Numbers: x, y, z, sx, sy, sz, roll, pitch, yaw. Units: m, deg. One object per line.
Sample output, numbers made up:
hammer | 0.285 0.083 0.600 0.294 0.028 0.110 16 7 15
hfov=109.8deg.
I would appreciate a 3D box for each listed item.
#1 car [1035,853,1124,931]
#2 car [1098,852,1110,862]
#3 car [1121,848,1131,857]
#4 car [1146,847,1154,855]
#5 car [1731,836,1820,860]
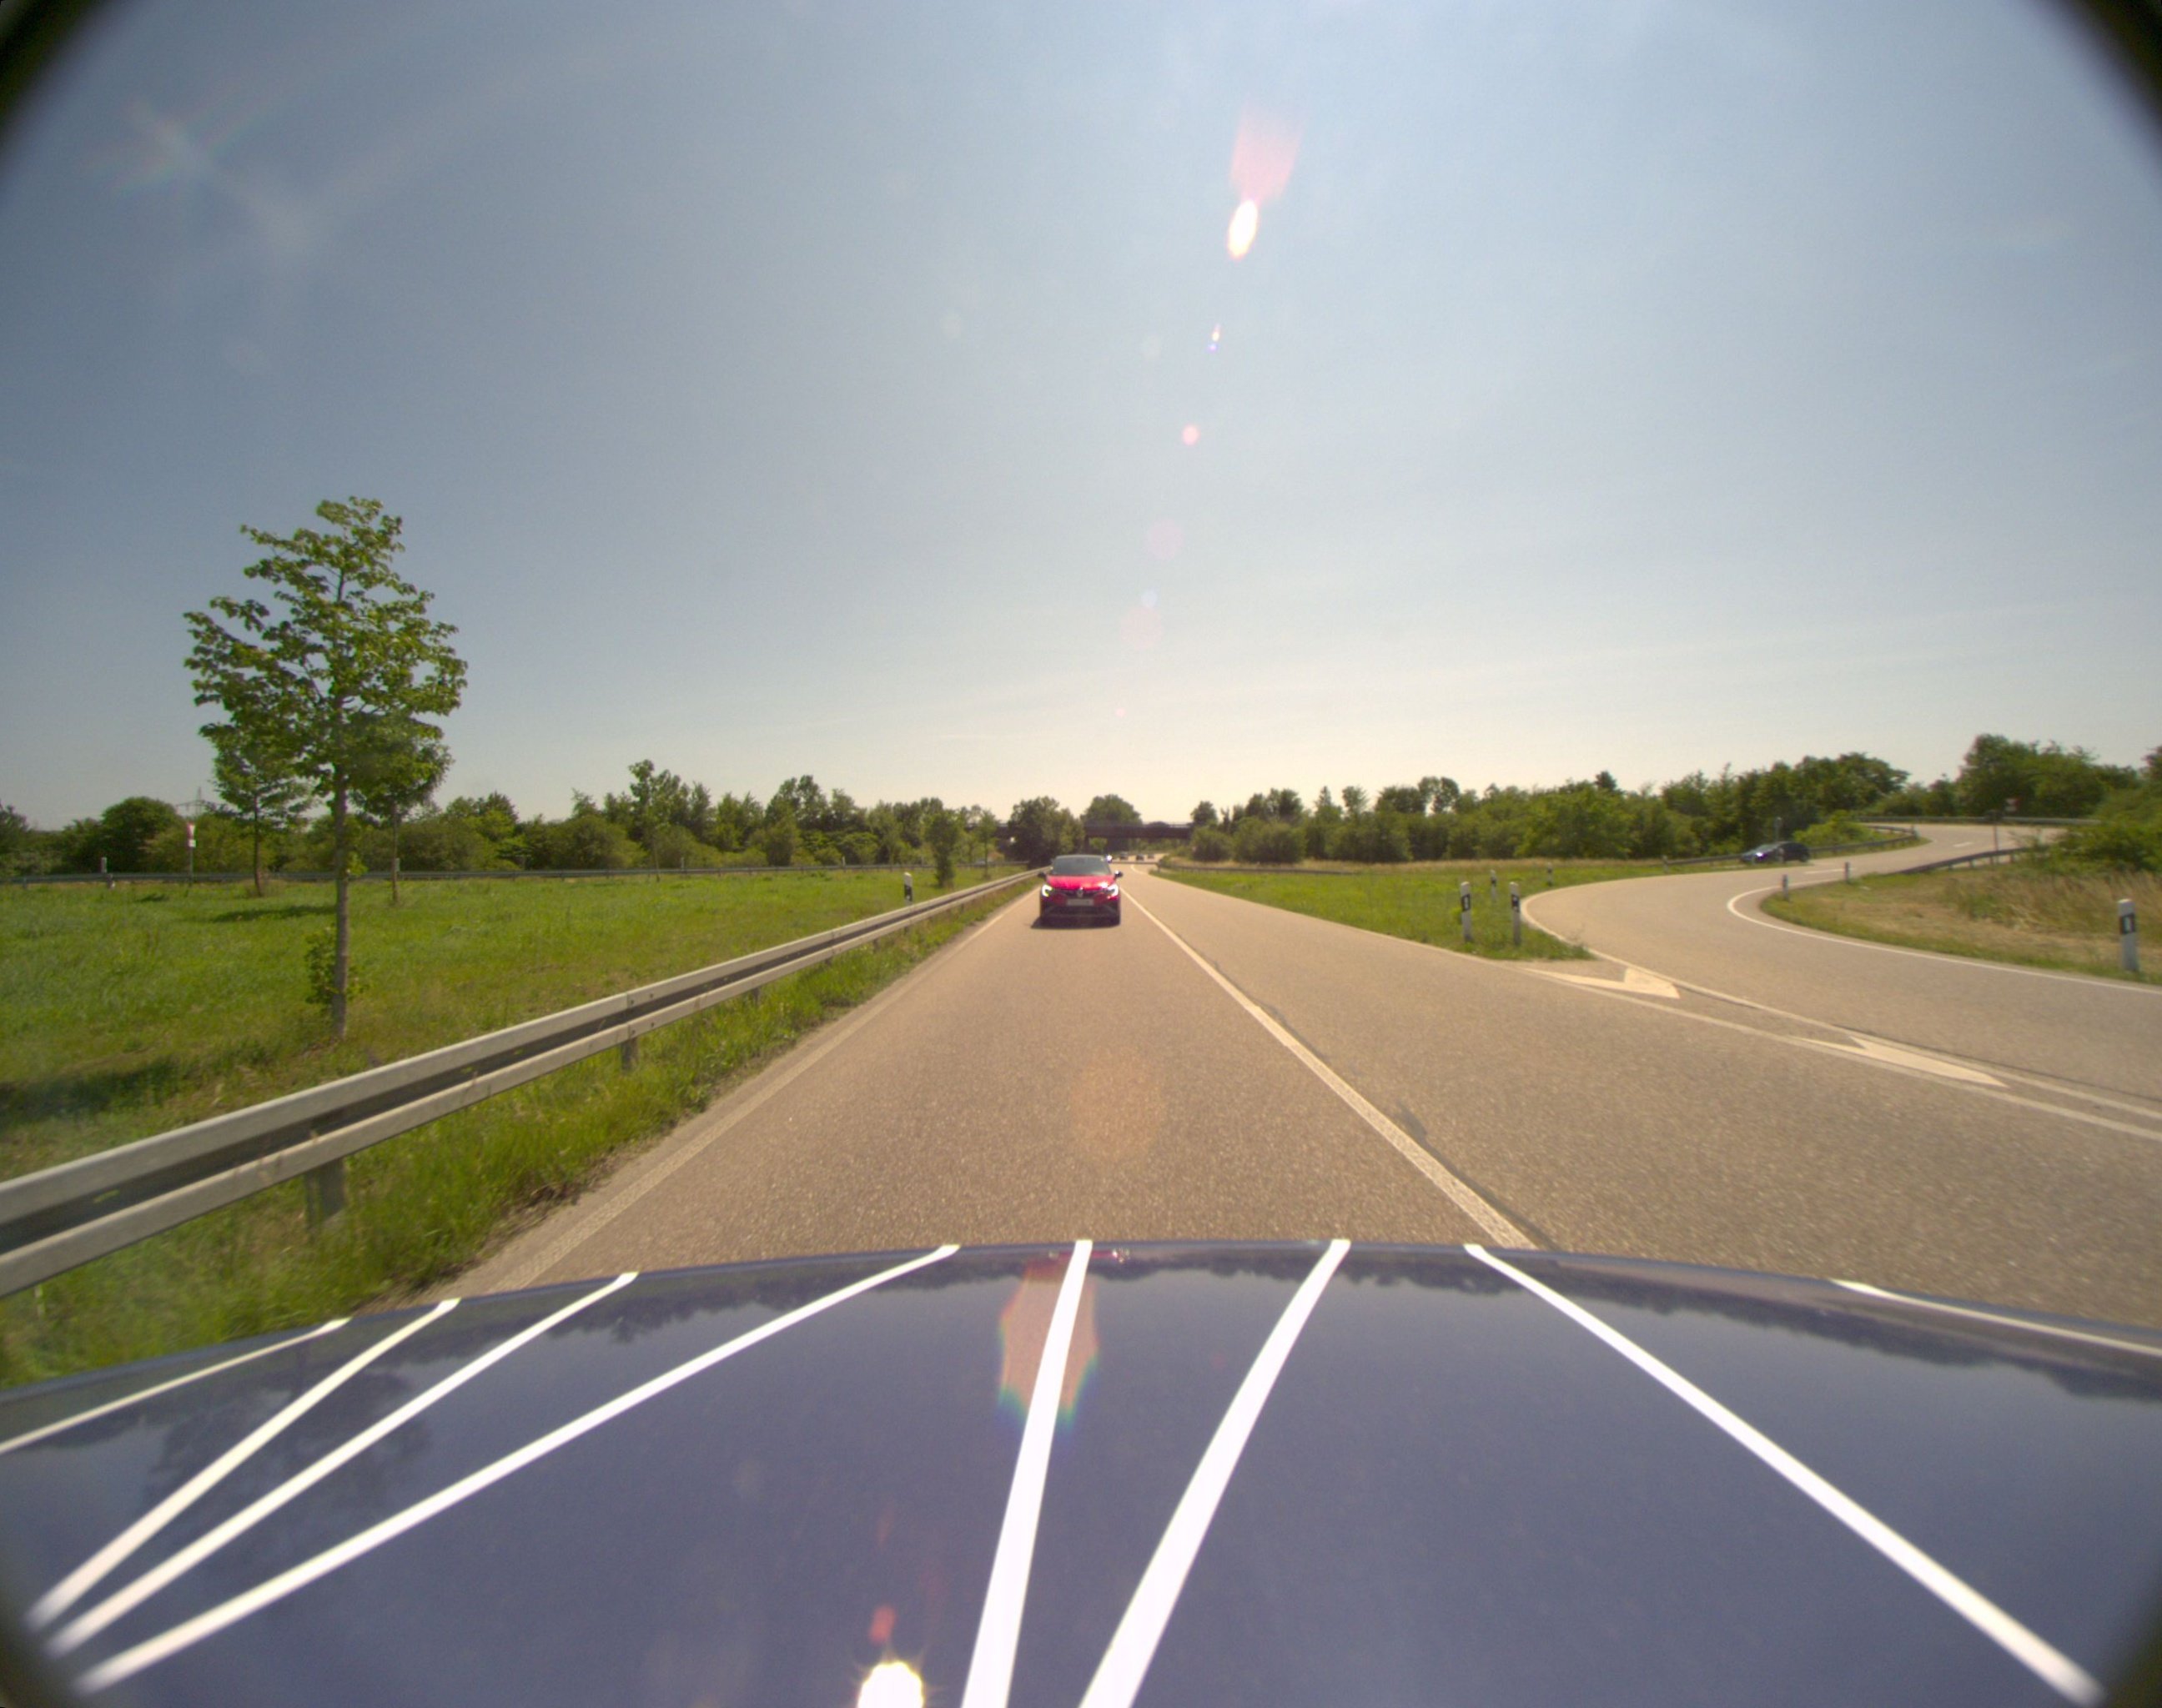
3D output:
car | -0.010 0.814 18.654 1.837 1.587 4.722 -2 0 1
car | 4.023 0.471 132.329 1.998 1.696 4.000 0 0 1
car | 10.464 -0.287 176.201 1.997 2.002 4.001 0 1 6
car | 18.010 -0.816 197.660 1.997 2.002 4.002 0 1 6
car | 46.958 -0.405 51.447 4.145 1.548 1.889 0 1 4
